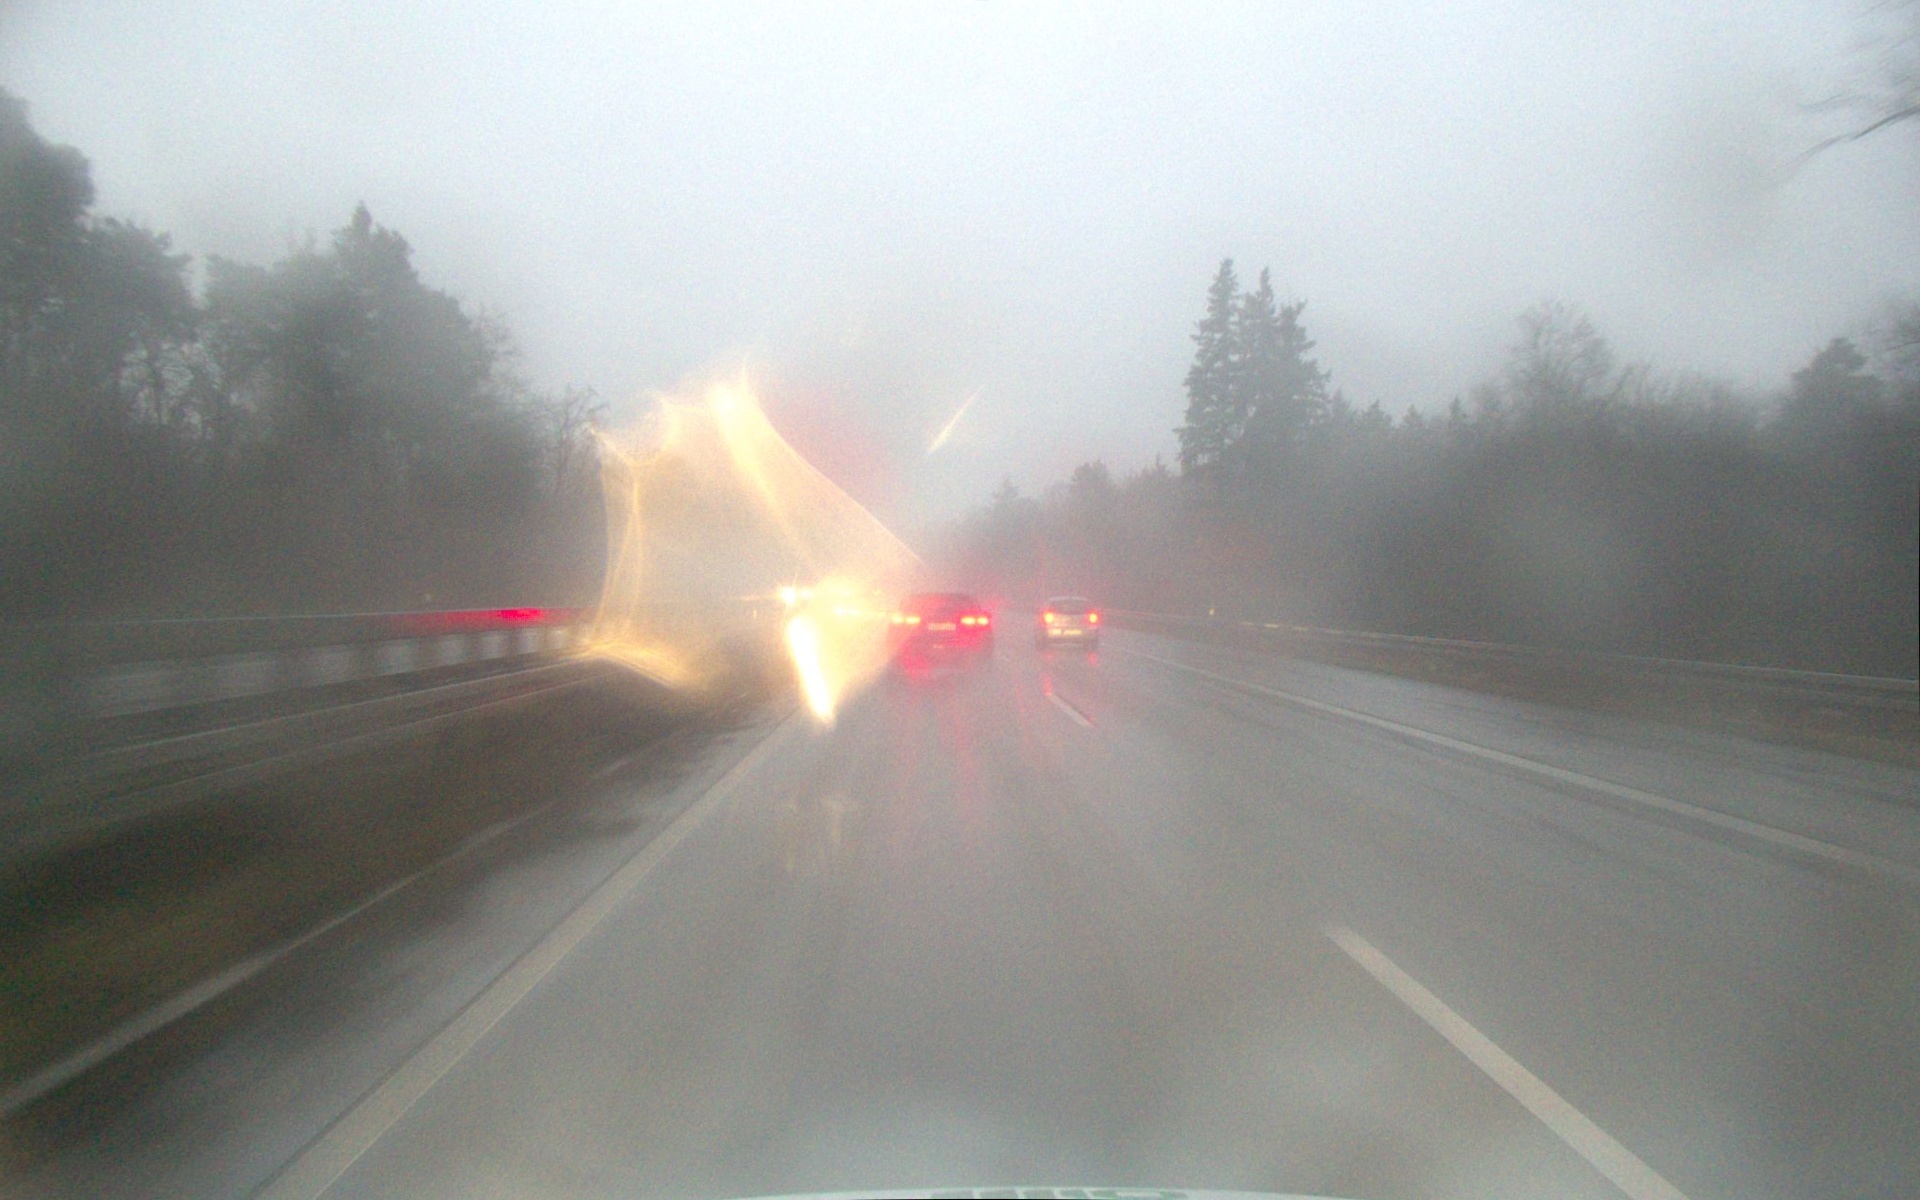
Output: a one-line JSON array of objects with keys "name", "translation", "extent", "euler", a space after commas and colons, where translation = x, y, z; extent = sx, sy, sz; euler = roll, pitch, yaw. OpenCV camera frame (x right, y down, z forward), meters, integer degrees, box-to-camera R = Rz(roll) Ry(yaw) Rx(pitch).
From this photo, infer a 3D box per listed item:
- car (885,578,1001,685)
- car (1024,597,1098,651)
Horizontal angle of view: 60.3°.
[{"name": "car", "translation": [-0.270, 0.516, 29.837], "extent": [1.945, 1.798, 4.173], "euler": [0, 0, 0]}, {"name": "car", "translation": [2.861, 0.659, 47.550], "extent": [1.744, 1.462, 3.535], "euler": [0, 0, -3]}]
